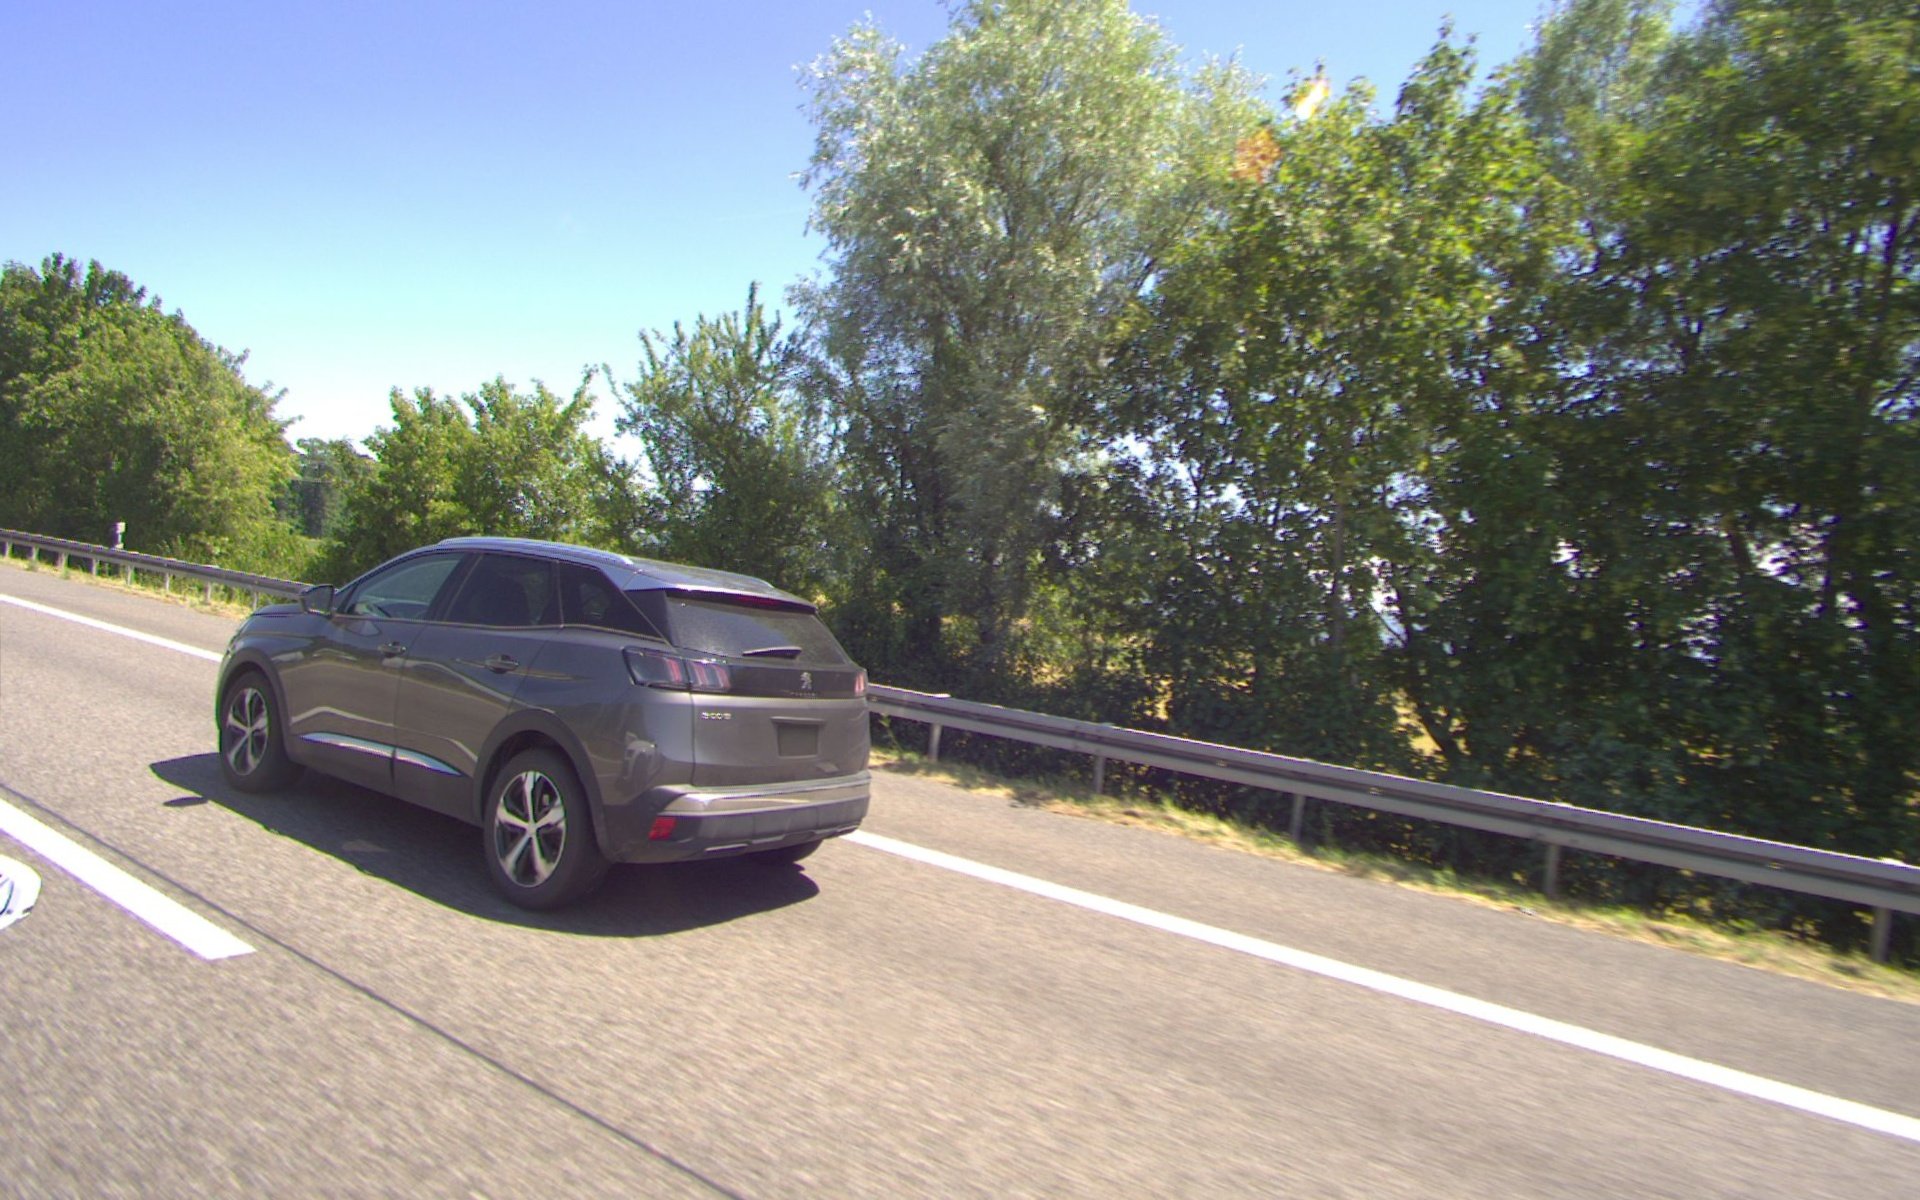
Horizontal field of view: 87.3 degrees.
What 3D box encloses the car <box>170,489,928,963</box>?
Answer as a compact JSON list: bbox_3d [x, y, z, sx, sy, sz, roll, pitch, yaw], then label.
[{"bbox_3d":[-2.456,0.445,5.736,4.066,1.648,1.848,7,0,32],"label":"car"}]
